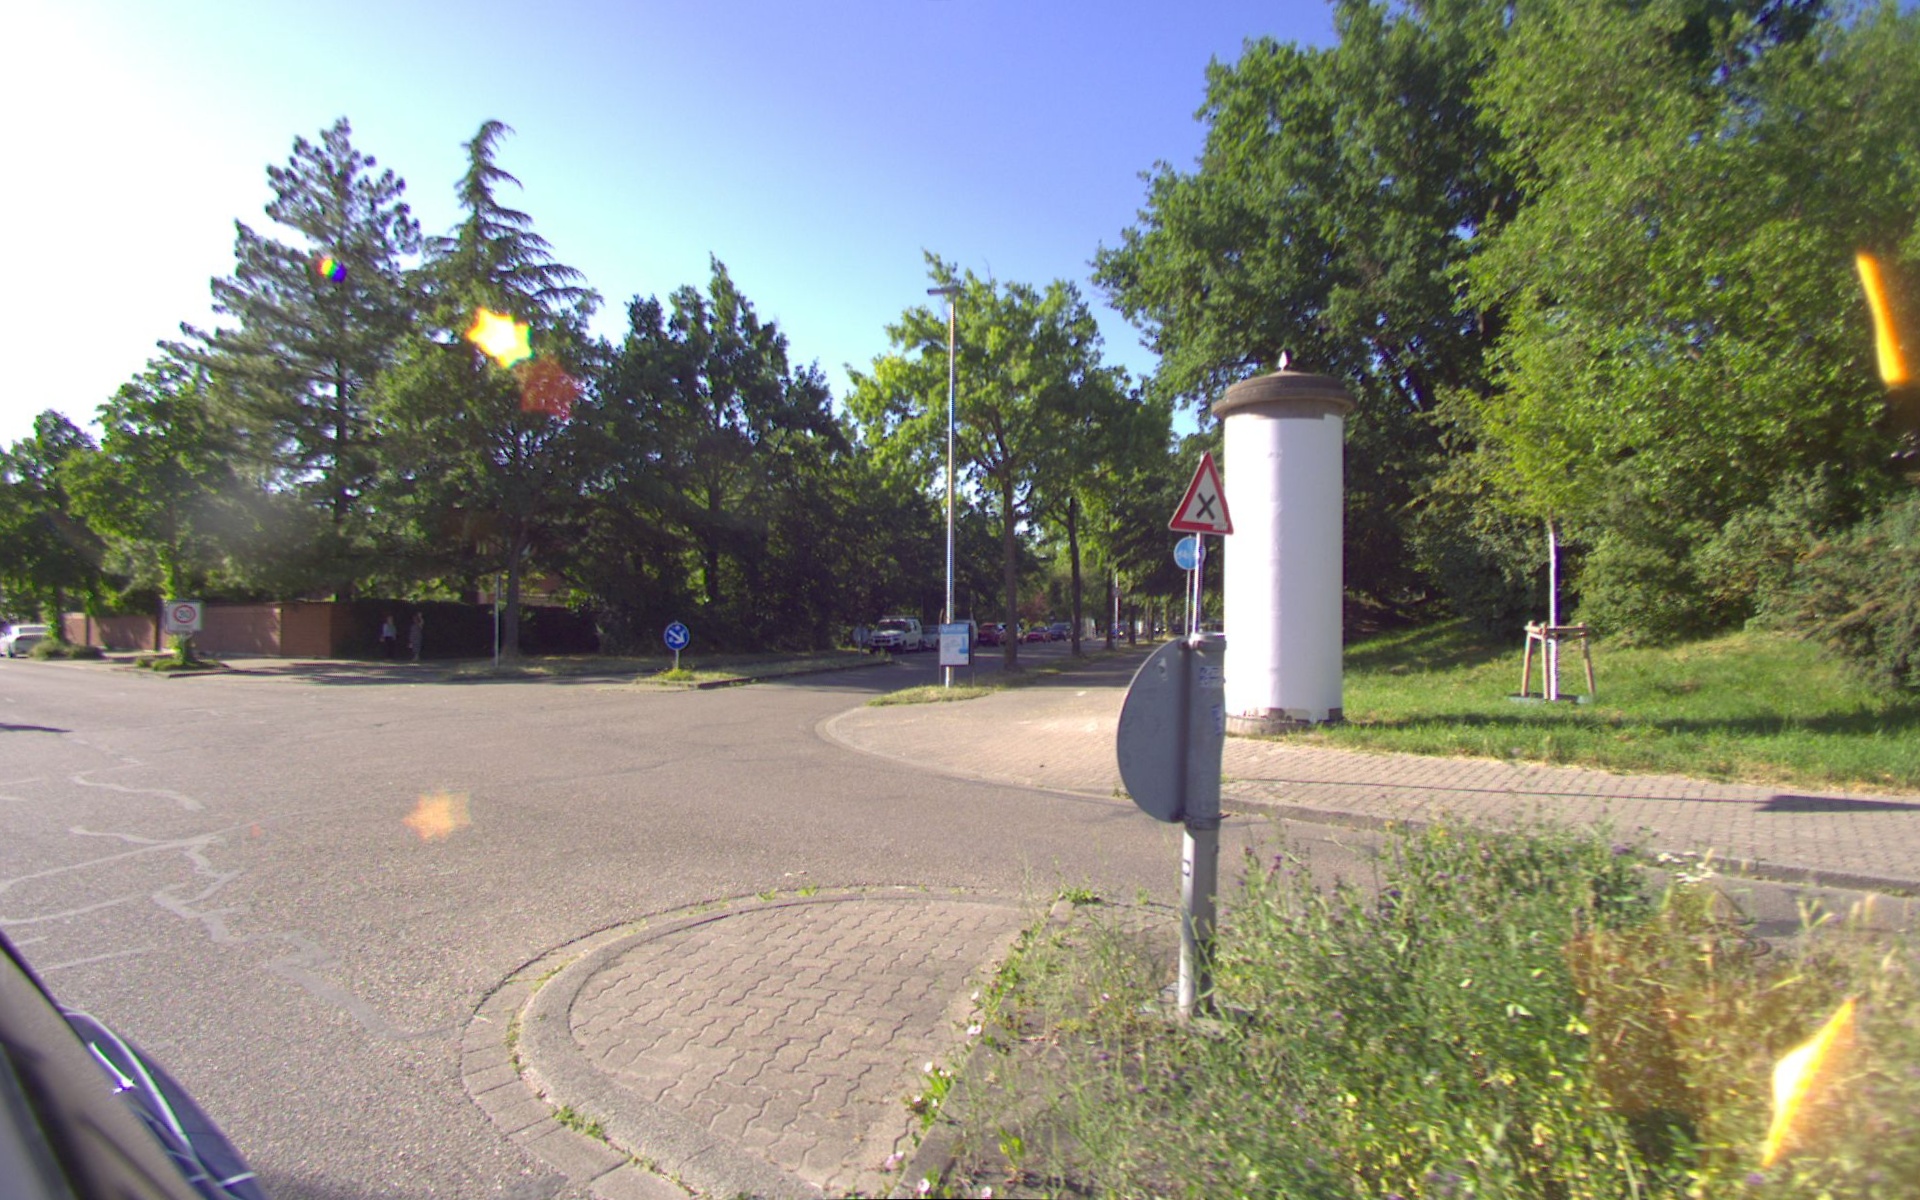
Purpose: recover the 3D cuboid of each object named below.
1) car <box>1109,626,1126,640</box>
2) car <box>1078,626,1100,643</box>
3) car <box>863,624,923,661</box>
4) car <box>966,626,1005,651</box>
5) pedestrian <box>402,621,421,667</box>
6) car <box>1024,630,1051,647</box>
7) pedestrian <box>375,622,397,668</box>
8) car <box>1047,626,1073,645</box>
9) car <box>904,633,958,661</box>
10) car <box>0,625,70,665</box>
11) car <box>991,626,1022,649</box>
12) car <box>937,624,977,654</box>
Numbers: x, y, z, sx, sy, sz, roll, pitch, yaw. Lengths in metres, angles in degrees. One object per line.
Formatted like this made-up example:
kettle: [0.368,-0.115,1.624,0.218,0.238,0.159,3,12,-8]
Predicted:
car: [19.142,4.002,122.572,1.411,1.666,3.886,-2,-2,18]
car: [12.732,3.382,99.523,1.439,1.666,3.697,-2,-2,18]
car: [-3.325,2.102,51.286,1.738,1.762,4.614,-1,-2,13]
car: [1.785,2.624,69.142,1.758,1.651,3.733,-1,-2,16]
pedestrian: [-19.073,1.534,35.163,0.538,1.573,0.390,0,-2,42]
car: [6.525,3.236,85.031,1.489,1.369,3.446,-2,-2,18]
pedestrian: [-19.711,1.539,34.778,0.392,1.532,0.536,0,-1,15]
car: [8.977,3.200,90.934,1.489,1.666,4.067,-2,-2,18]
car: [-1.582,2.611,57.288,1.708,1.455,4.590,-3,-2,16]
car: [-41.712,1.968,45.238,3.989,1.671,1.977,-1,-1,34]
car: [3.451,2.754,74.548,1.488,1.651,3.733,-1,-2,16]
car: [-0.152,2.401,62.131,1.488,1.768,3.782,-1,-2,16]
